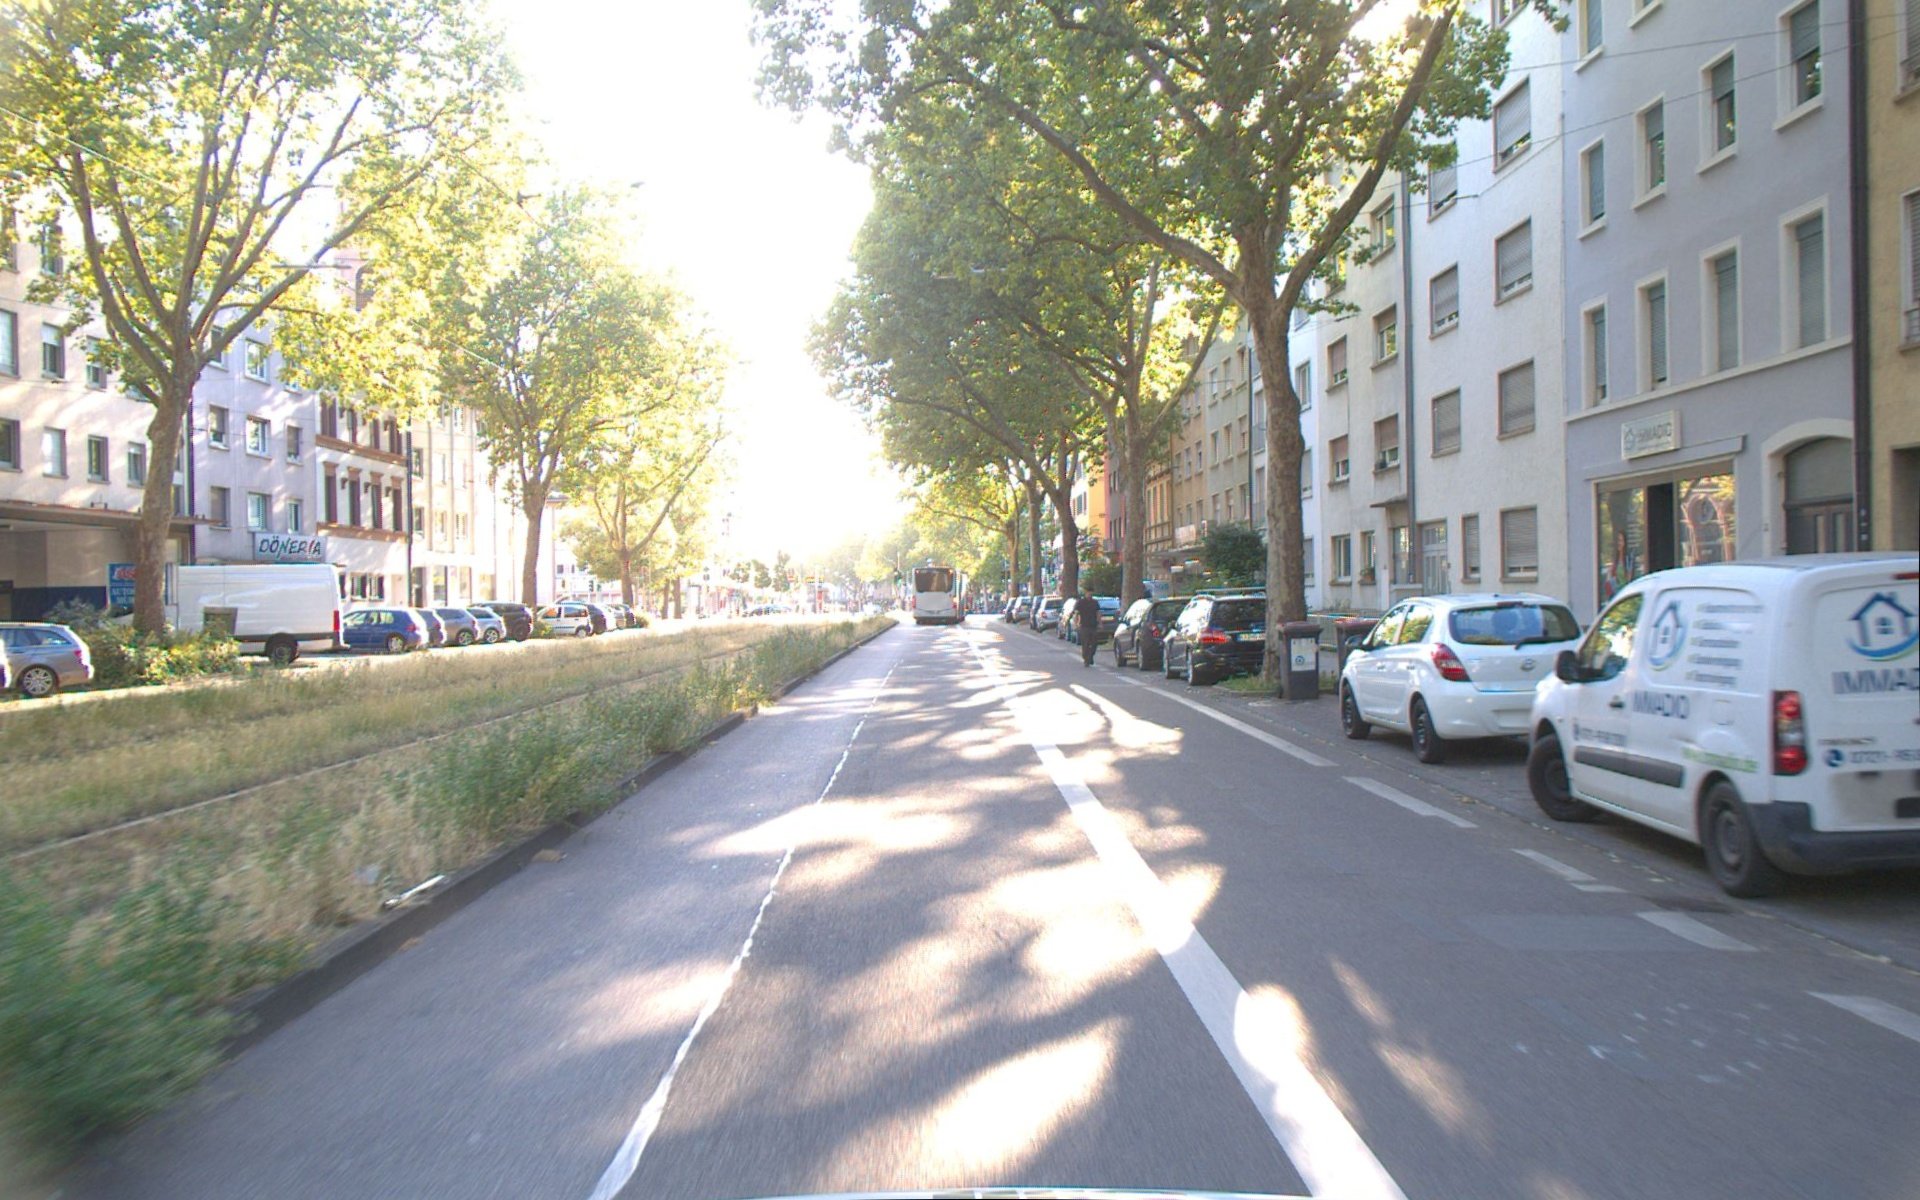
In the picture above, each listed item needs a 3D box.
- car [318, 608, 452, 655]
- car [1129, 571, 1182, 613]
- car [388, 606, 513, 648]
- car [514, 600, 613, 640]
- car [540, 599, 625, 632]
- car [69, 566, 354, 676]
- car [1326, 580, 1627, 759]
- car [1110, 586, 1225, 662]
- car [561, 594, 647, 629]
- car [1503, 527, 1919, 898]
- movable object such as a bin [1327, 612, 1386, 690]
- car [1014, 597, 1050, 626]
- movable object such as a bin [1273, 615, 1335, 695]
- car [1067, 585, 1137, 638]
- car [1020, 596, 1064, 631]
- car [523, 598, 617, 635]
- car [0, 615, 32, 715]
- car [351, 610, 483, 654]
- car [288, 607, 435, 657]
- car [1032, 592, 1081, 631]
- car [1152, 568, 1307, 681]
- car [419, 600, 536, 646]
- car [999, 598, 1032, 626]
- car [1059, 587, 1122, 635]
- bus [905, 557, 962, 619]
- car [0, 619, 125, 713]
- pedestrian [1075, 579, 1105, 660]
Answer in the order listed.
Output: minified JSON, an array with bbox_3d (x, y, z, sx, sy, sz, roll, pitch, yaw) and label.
[{"bbox_3d":[-19.881,1.076,57.183,4.241,1.483,1.845,-1,-1,-24],"label":"car"},{"bbox_3d":[9.142,-0.343,77.559,1.845,1.892,4.324,-2,0,-1],"label":"car"},{"bbox_3d":[-19.843,1.043,64.516,4.275,1.483,1.830,-1,-1,-42],"label":"car"},{"bbox_3d":[-19.117,0.955,79.795,4.275,1.768,1.830,-1,-1,-42],"label":"car"},{"bbox_3d":[-21.017,0.858,92.261,4.275,1.768,1.830,-1,-1,-42],"label":"car"},{"bbox_3d":[-20.099,0.532,44.794,6.841,2.725,2.171,-1,-1,-22],"label":"car"},{"bbox_3d":[4.980,0.598,16.508,1.612,1.512,3.999,-2,0,-2],"label":"car"},{"bbox_3d":[4.470,0.511,36.129,1.653,1.512,3.995,-1,0,-5],"label":"car"},{"bbox_3d":[-19.487,0.632,90.532,4.275,1.768,1.830,-1,-1,-42],"label":"car"},{"bbox_3d":[4.929,0.553,10.302,1.708,1.801,4.395,-2,0,2],"label":"car"},{"bbox_3d":[5.670,0.723,23.684,0.597,1.066,0.848,-2,0,-1],"label":"movable object such as a bin"},{"bbox_3d":[4.007,0.622,92.607,1.745,1.542,3.999,-2,0,-1],"label":"car"},{"bbox_3d":[4.866,0.770,23.444,0.660,1.063,0.879,-2,2,-2],"label":"movable object such as a bin"},{"bbox_3d":[4.443,0.339,52.083,1.745,1.542,3.999,-2,0,-1],"label":"car"},{"bbox_3d":[3.864,0.596,78.384,1.745,1.542,3.999,-2,0,-1],"label":"car"},{"bbox_3d":[-19.715,0.823,83.706,4.275,1.768,1.830,-1,-1,-42],"label":"car"},{"bbox_3d":[-18.671,1.255,29.074,3.951,1.728,1.835,-4,1,-33],"label":"car"},{"bbox_3d":[-20.049,1.164,61.151,4.275,1.483,1.830,-1,-1,-42],"label":"car"},{"bbox_3d":[-19.691,1.051,54.546,4.216,1.483,1.856,-2,-1,-7],"label":"car"},{"bbox_3d":[4.060,0.471,69.977,1.745,1.542,3.999,-2,0,-1],"label":"car"},{"bbox_3d":[4.678,0.416,29.426,1.709,1.801,4.986,-2,0,-2],"label":"car"},{"bbox_3d":[-19.808,0.926,67.986,4.275,1.768,1.830,-1,-1,-42],"label":"car"},{"bbox_3d":[3.287,0.712,99.135,1.745,1.542,3.999,-2,0,-1],"label":"car"},{"bbox_3d":[4.456,0.339,57.158,1.745,1.542,3.999,-2,0,-1],"label":"car"},{"bbox_3d":[-1.586,-0.607,94.457,2.777,3.292,8.176,-1,0,-4],"label":"bus"},{"bbox_3d":[-18.686,1.297,32.298,3.962,1.729,1.830,-1,-1,-40],"label":"car"},{"bbox_3d":[2.948,0.446,37.551,0.565,1.811,0.514,-2,0,-1],"label":"pedestrian"}]
